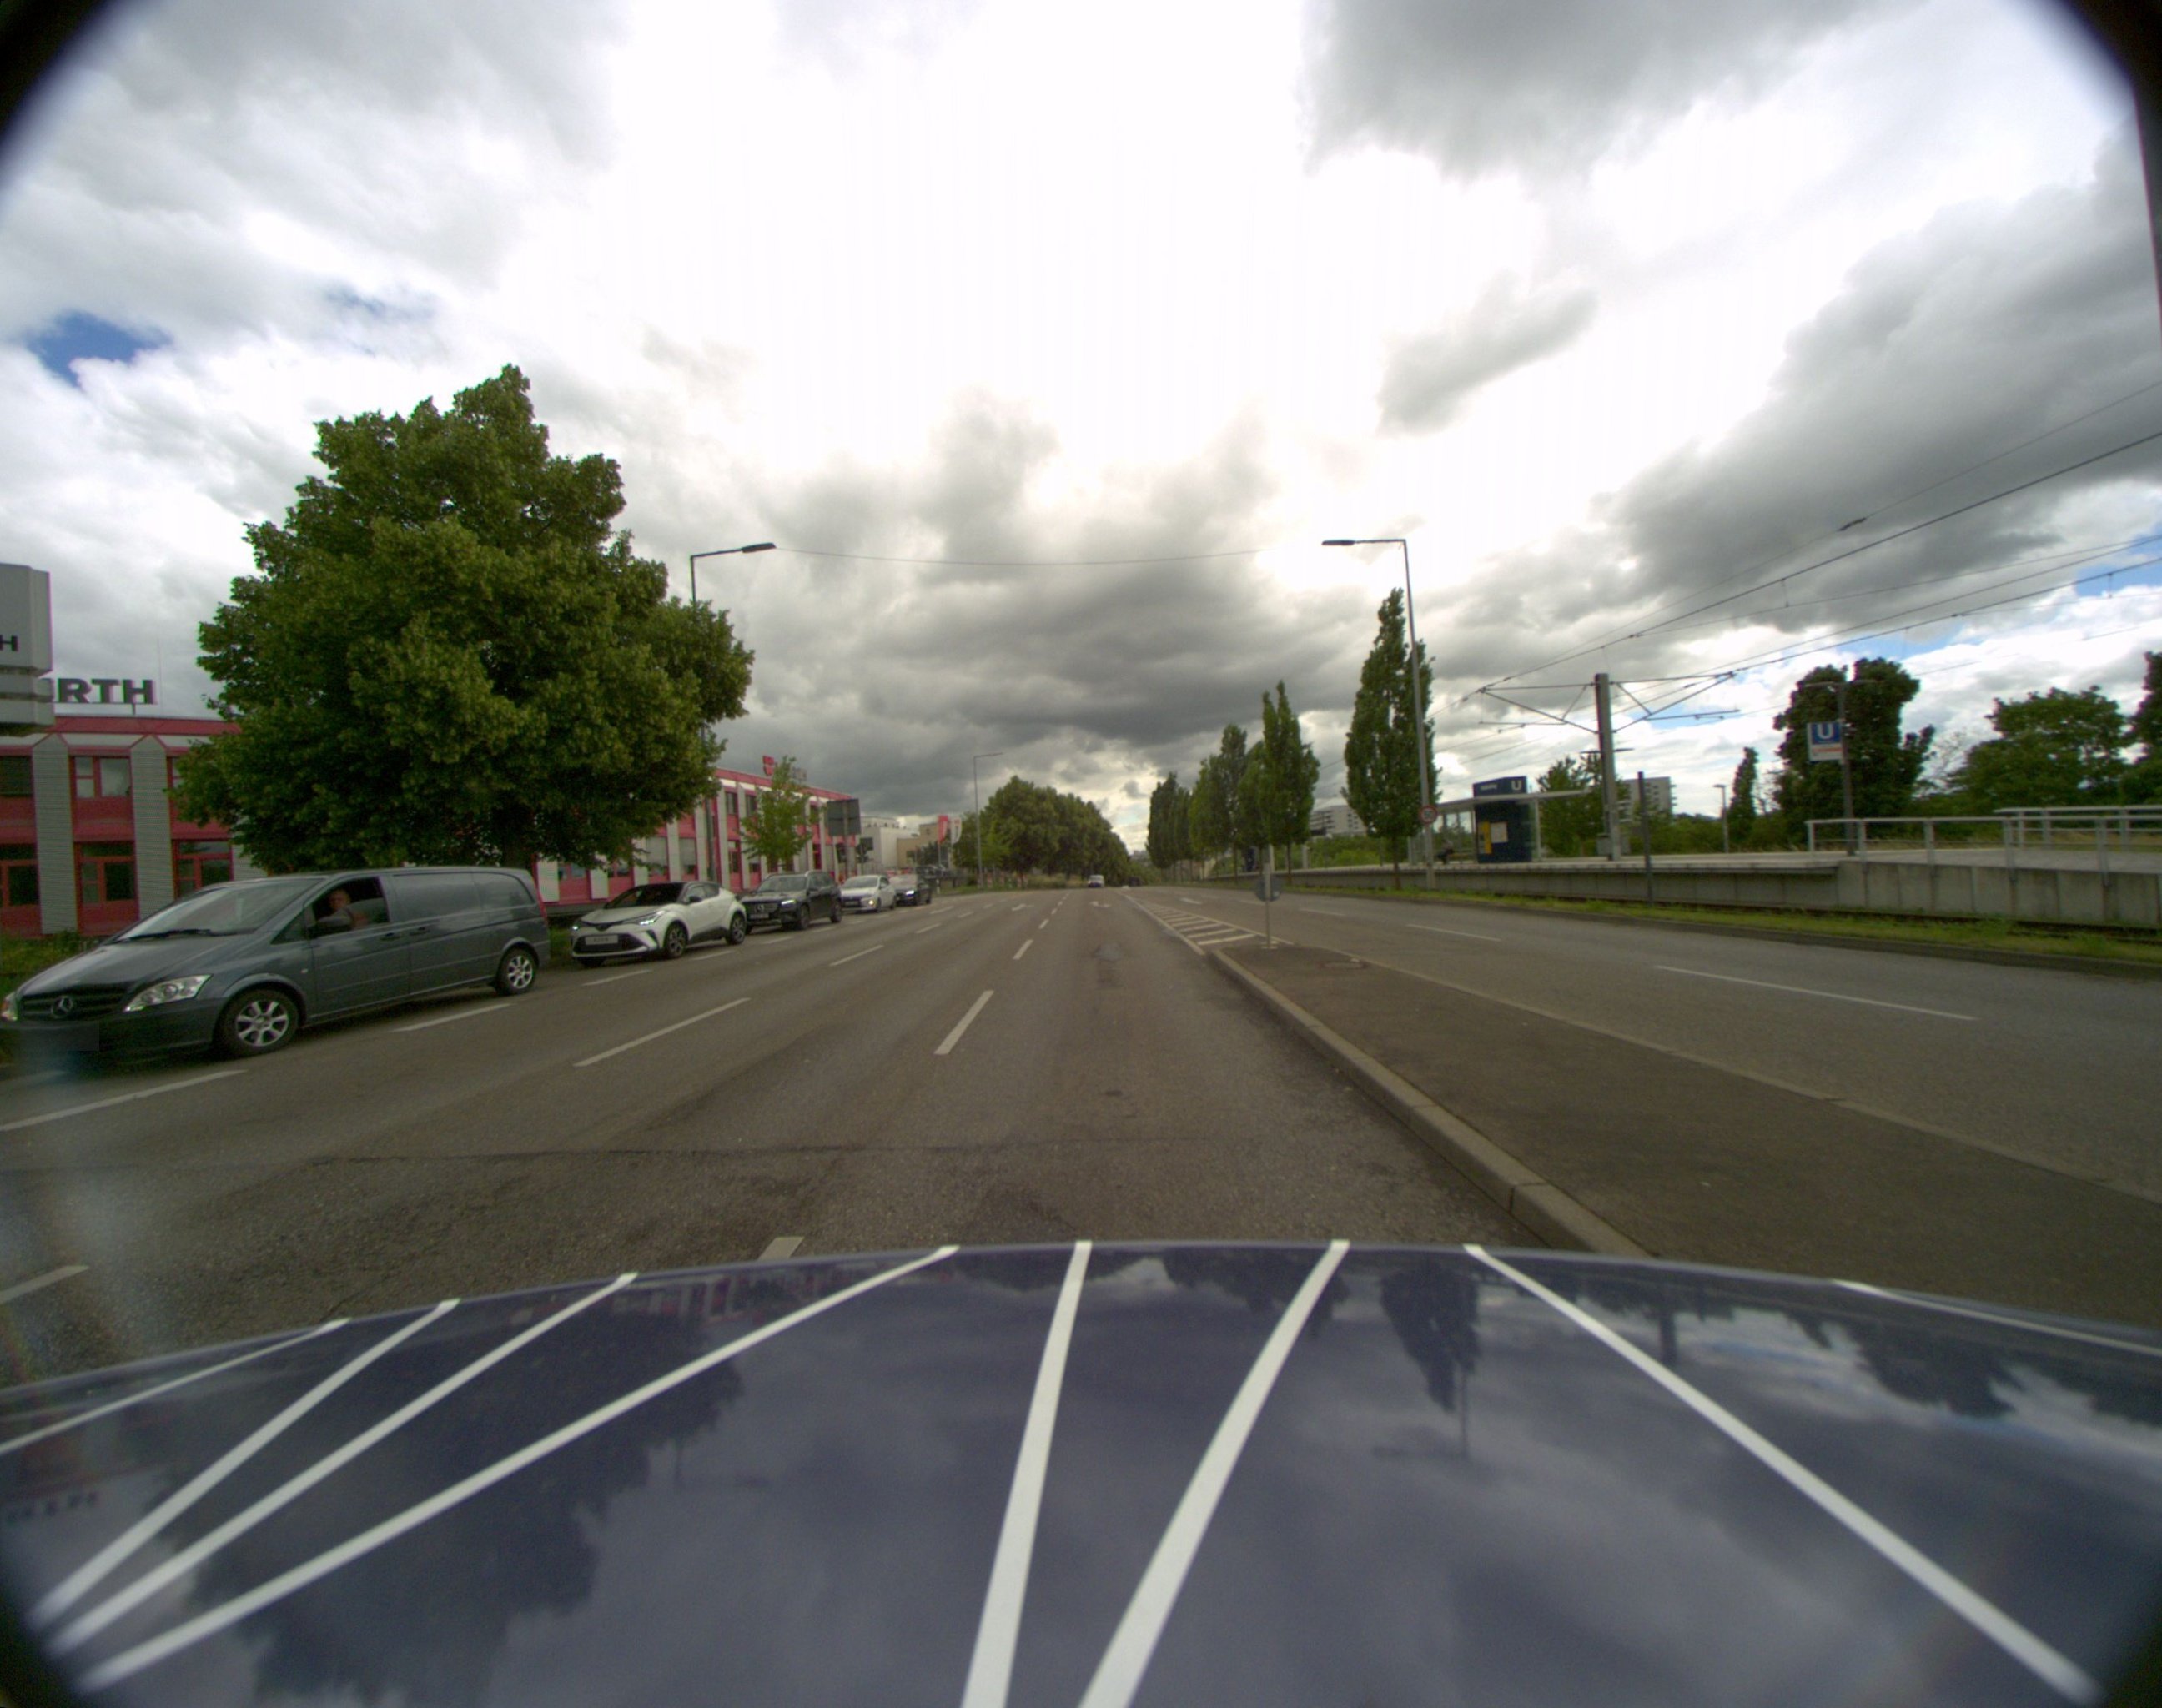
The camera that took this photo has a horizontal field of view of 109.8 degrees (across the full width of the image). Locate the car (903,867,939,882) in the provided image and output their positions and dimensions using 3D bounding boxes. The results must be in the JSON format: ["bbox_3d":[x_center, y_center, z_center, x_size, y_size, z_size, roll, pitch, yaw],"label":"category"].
[{"bbox_3d":[-21.226,2.689,101.010,4.248,1.744,1.784,-2,0,2],"label":"car"}]

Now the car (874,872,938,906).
[{"bbox_3d":[-8.027,1.590,35.212,1.785,1.437,4.530,-1,-2,1],"label":"car"}]

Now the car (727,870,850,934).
[{"bbox_3d":[-8.380,1.326,22.219,1.785,1.639,4.427,-1,-2,1],"label":"car"}]

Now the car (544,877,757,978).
[{"bbox_3d":[-8.568,1.379,15.662,1.785,1.526,4.305,-5,0,0],"label":"car"}]

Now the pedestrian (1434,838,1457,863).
[{"bbox_3d":[17.614,-0.173,36.740,0.663,1.195,0.782,-2,0,-7],"label":"pedestrian"}]

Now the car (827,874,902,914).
[{"bbox_3d":[-8.479,1.554,30.111,1.785,1.434,3.836,-1,-2,1],"label":"car"}]

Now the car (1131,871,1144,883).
[{"bbox_3d":[8.677,3.563,116.792,1.869,1.674,4.843,-2,-3,5],"label":"car"}]

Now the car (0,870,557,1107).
[{"bbox_3d":[-8.839,1.225,8.840,1.921,1.823,4.722,-5,0,2],"label":"car"}]

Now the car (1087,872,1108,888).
[{"bbox_3d":[2.161,3.373,99.511,1.998,1.791,4.843,-2,0,10],"label":"car"}]

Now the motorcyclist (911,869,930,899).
[{"bbox_3d":[-8.357,1.541,39.580,0.750,1.481,0.933,-4,-1,-3],"label":"motorcyclist"}]
